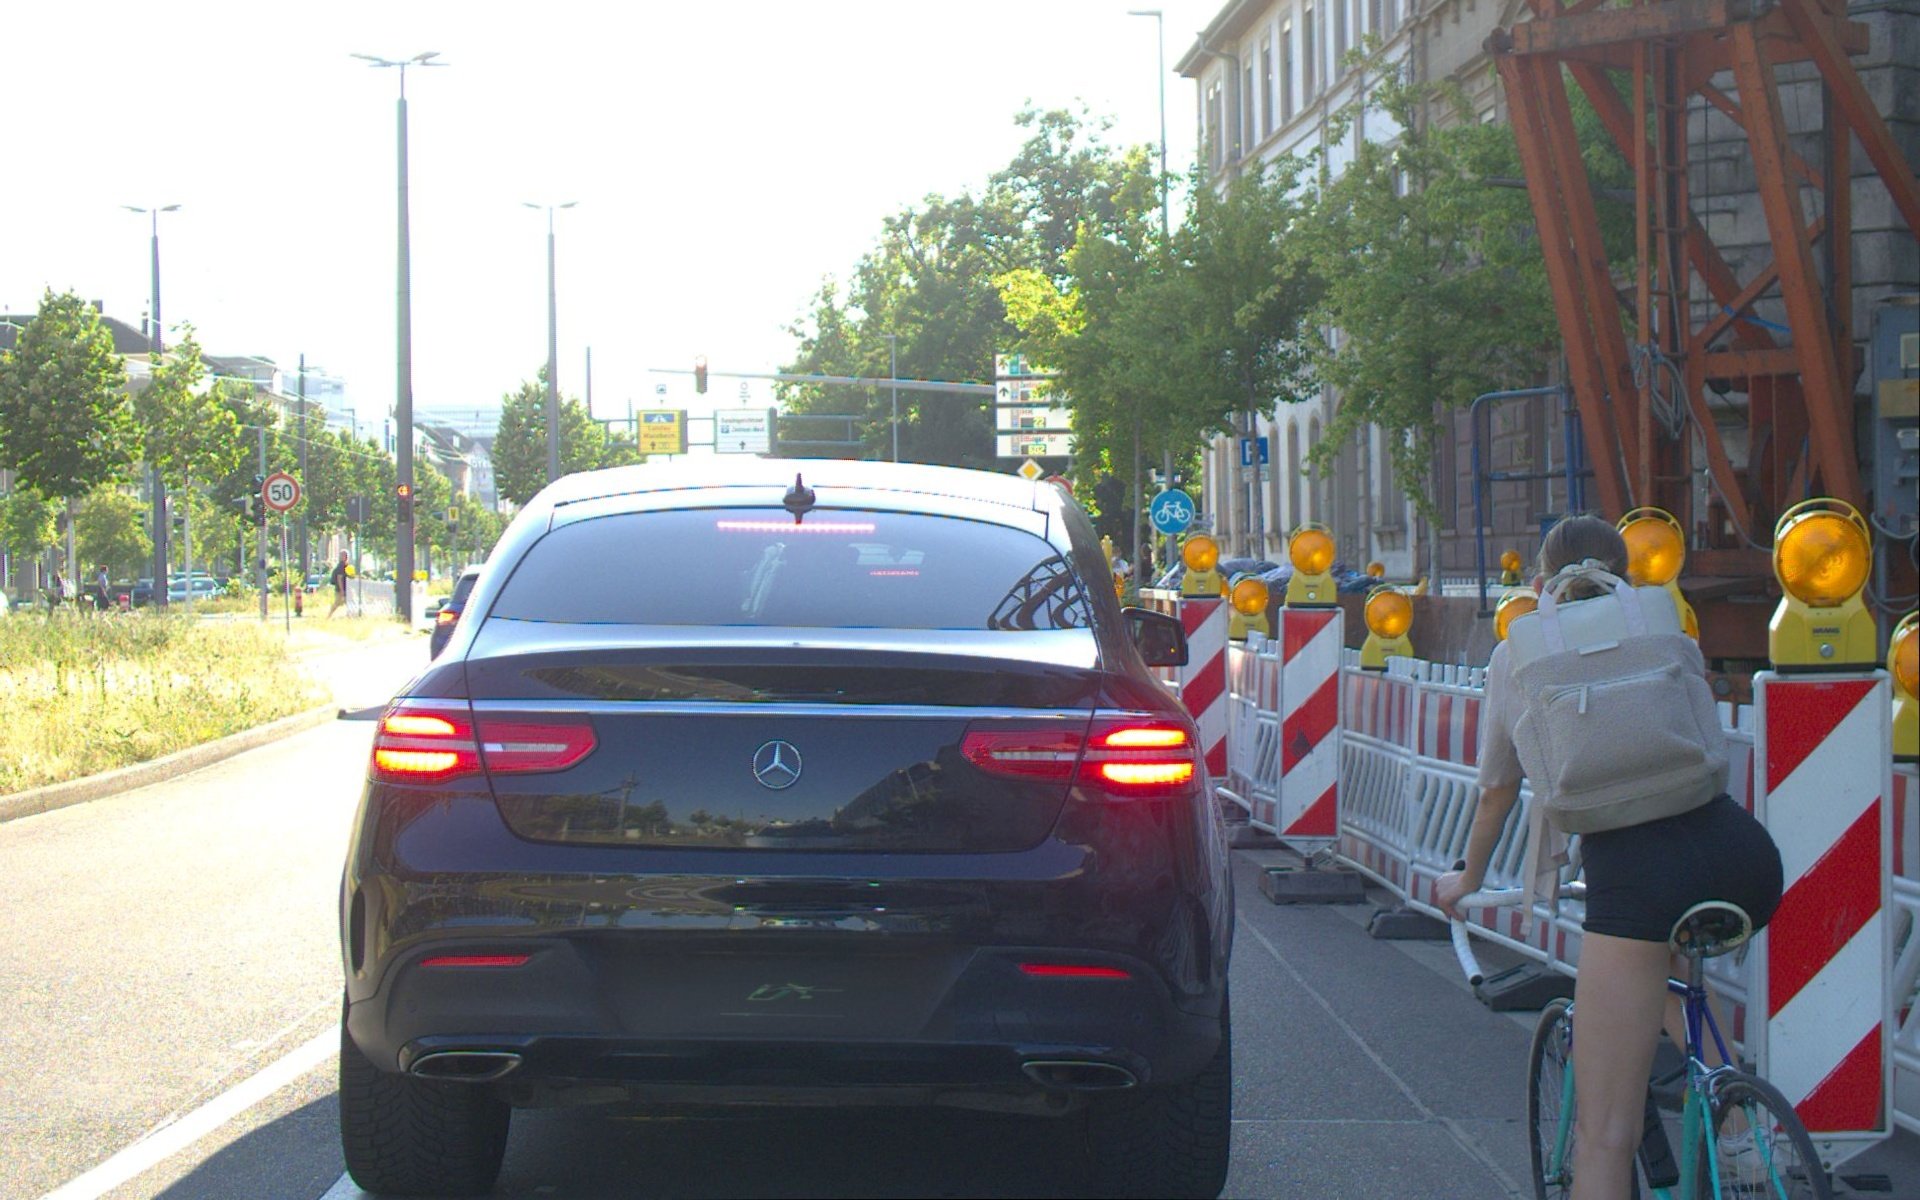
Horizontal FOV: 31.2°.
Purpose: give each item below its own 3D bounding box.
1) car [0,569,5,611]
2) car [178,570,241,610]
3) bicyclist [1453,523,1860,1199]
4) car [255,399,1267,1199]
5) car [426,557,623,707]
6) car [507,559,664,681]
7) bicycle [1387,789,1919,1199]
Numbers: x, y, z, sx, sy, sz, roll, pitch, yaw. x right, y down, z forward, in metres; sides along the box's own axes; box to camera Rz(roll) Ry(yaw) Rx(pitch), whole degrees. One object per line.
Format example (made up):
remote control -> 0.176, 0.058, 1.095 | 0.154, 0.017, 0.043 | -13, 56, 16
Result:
car -> -33.420, -0.340, 115.684 | 1.708, 1.437, 3.583 | 1, 1, -3
car -> -27.882, -0.389, 127.749 | 1.708, 1.437, 3.583 | 1, 1, -3
bicyclist -> 1.168, 0.571, 5.860 | 0.522, 1.391, 0.615 | 1, 0, -3
car -> -0.419, 0.476, 8.843 | 1.993, 1.766, 4.000 | 1, 1, -1
car -> -4.424, 0.296, 35.339 | 1.708, 1.437, 3.583 | 1, 1, -3
car -> -4.612, 0.217, 42.708 | 1.708, 1.437, 3.583 | 1, 1, -3
bicycle -> 1.153, 0.910, 5.938 | 0.512, 1.048, 1.725 | 1, 1, -3
